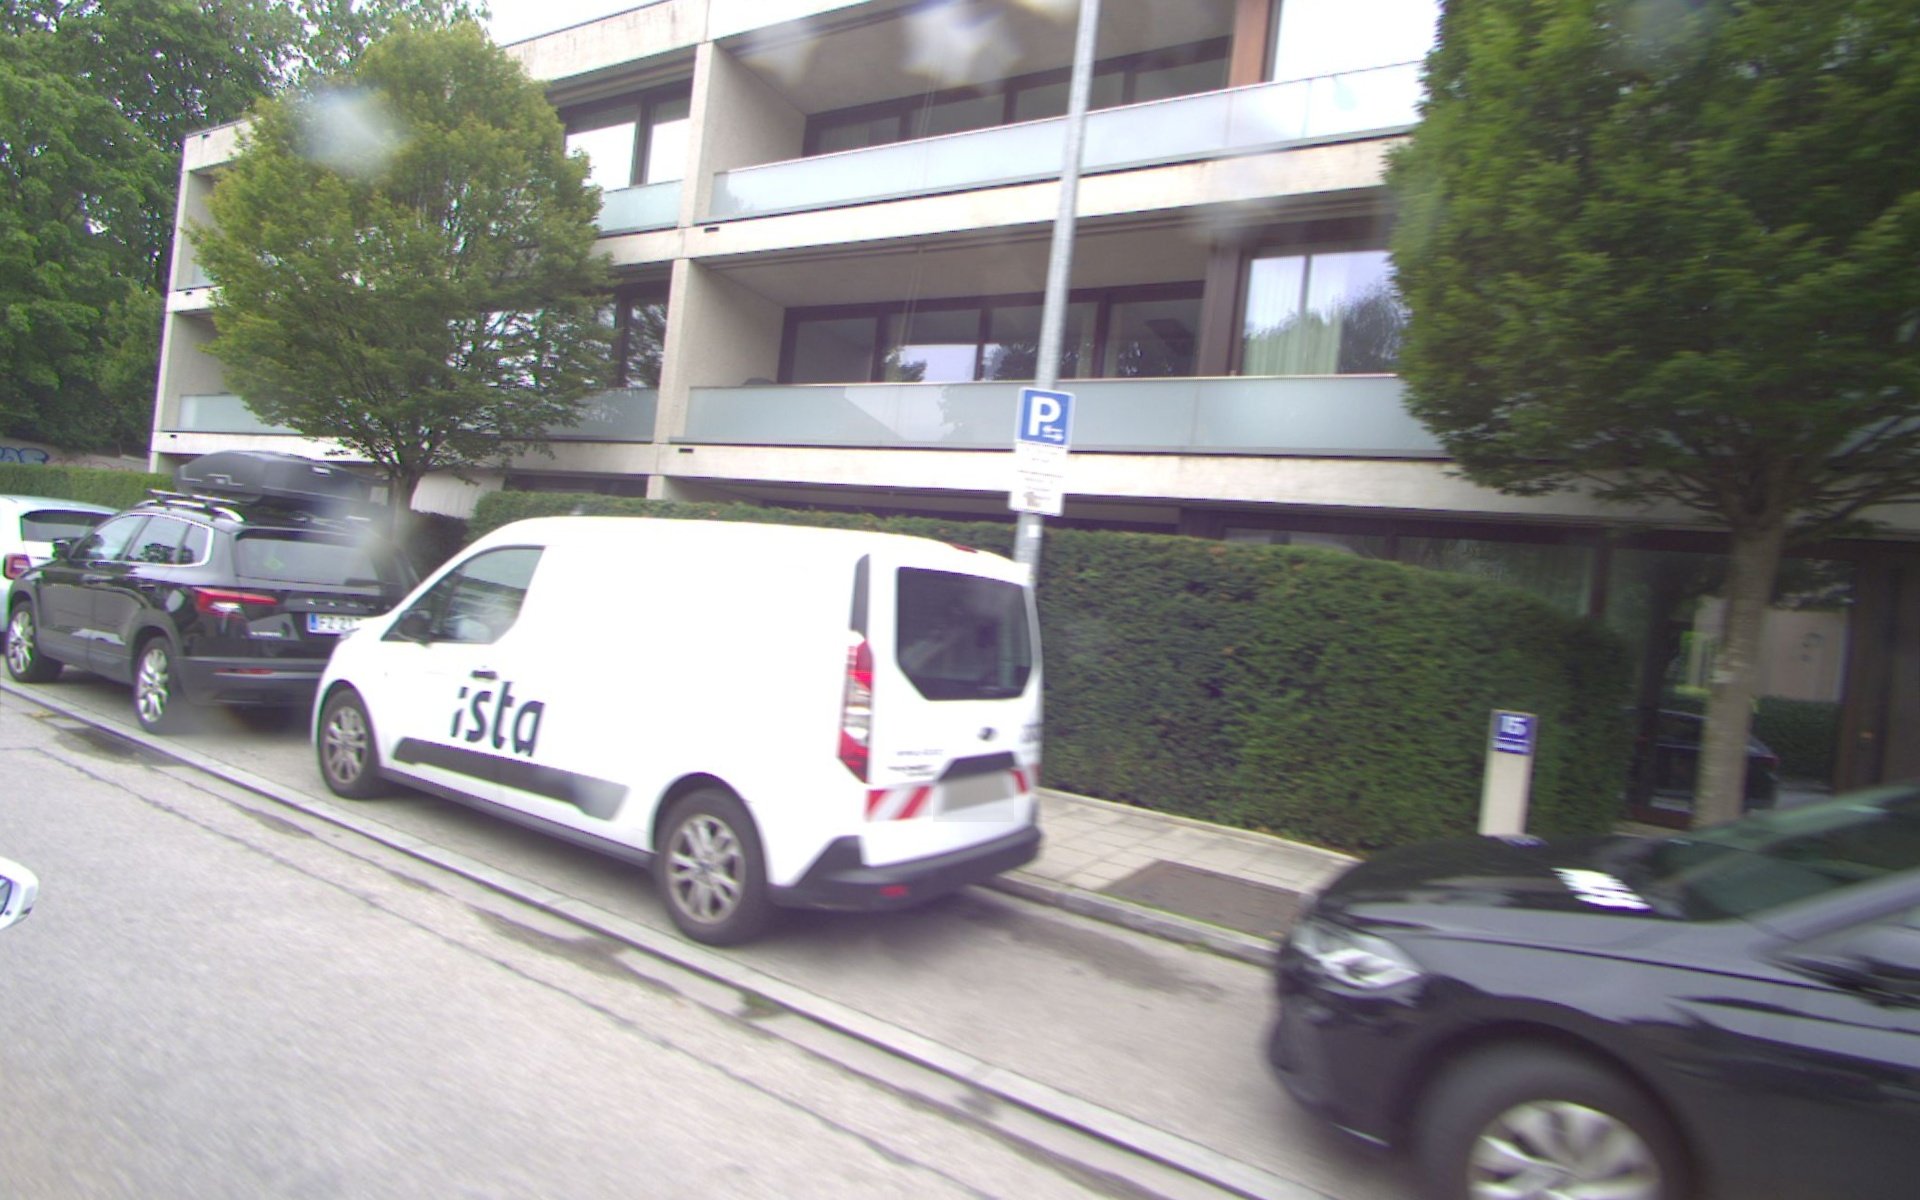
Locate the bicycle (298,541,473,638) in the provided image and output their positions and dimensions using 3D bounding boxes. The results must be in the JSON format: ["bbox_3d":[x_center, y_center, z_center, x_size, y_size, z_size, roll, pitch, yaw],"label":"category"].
[{"bbox_3d":[-8.556,-0.139,15.049,0.882,1.210,2.029,7,1,42],"label":"bicycle"}]

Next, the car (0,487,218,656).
[{"bbox_3d":[-9.995,-0.417,10.851,3.822,1.499,1.750,7,0,30],"label":"car"}]

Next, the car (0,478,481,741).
[{"bbox_3d":[-6.226,-0.022,8.343,4.520,1.498,1.750,7,0,31],"label":"car"}]

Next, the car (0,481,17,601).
[{"bbox_3d":[-14.882,-1.063,13.568,4.490,1.558,1.751,7,0,28],"label":"car"}]

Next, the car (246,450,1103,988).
[{"bbox_3d":[-1.862,0.331,5.785,4.817,1.883,1.825,7,-1,32],"label":"car"}]

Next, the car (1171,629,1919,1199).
[{"bbox_3d":[2.910,1.090,2.600,4.171,1.482,1.750,7,1,31],"label":"car"}]
